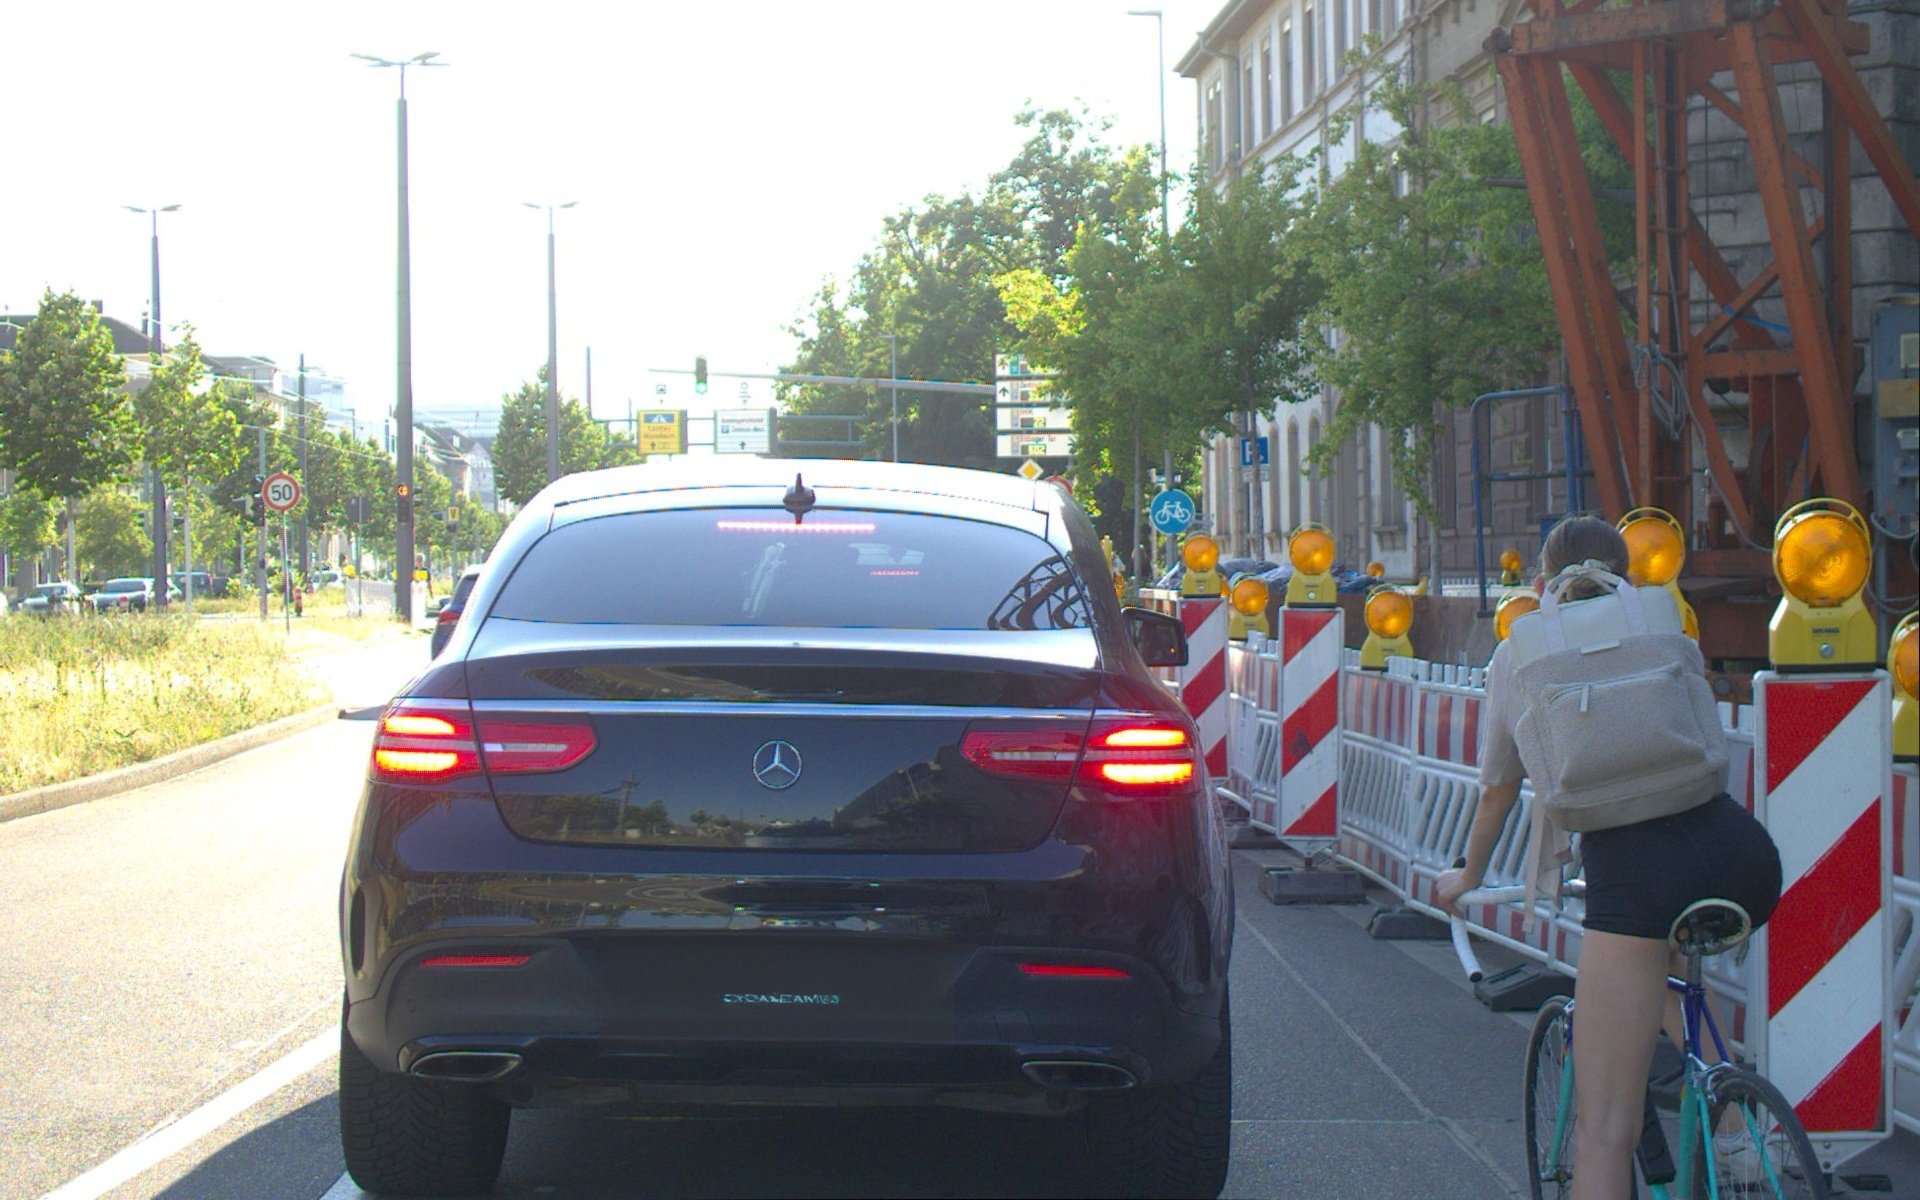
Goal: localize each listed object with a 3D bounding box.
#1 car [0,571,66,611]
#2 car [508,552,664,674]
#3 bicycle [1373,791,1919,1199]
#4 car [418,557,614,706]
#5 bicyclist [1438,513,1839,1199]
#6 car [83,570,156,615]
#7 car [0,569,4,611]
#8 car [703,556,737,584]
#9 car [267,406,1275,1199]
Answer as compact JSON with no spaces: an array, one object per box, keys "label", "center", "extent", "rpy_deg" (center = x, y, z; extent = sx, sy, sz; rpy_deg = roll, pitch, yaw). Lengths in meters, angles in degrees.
[{"label":"car","center":[-34.336,-0.337,127.199],"extent":[1.708,1.437,3.583],"rpy_deg":[1,1,-3]},{"label":"car","center":[-4.620,0.136,42.857],"extent":[1.708,1.437,3.583],"rpy_deg":[1,1,-3]},{"label":"bicycle","center":[1.139,0.920,6.050],"extent":[0.512,1.048,1.725],"rpy_deg":[1,1,-3]},{"label":"car","center":[-4.524,0.289,35.432],"extent":[1.708,1.437,3.583],"rpy_deg":[1,1,-3]},{"label":"bicyclist","center":[1.150,0.553,5.920],"extent":[0.522,1.391,0.615],"rpy_deg":[1,0,-3]},{"label":"car","center":[-28.043,-0.262,114.803],"extent":[1.708,1.437,3.583],"rpy_deg":[1,1,-3]},{"label":"car","center":[-33.438,-0.340,115.591],"extent":[1.708,1.437,3.583],"rpy_deg":[1,1,-3]},{"label":"car","center":[-12.855,-1.609,184.077],"extent":[1.708,1.437,3.583],"rpy_deg":[1,1,-3]},{"label":"car","center":[-0.401,0.489,8.869],"extent":[1.993,1.766,4.000],"rpy_deg":[1,1,-1]}]
